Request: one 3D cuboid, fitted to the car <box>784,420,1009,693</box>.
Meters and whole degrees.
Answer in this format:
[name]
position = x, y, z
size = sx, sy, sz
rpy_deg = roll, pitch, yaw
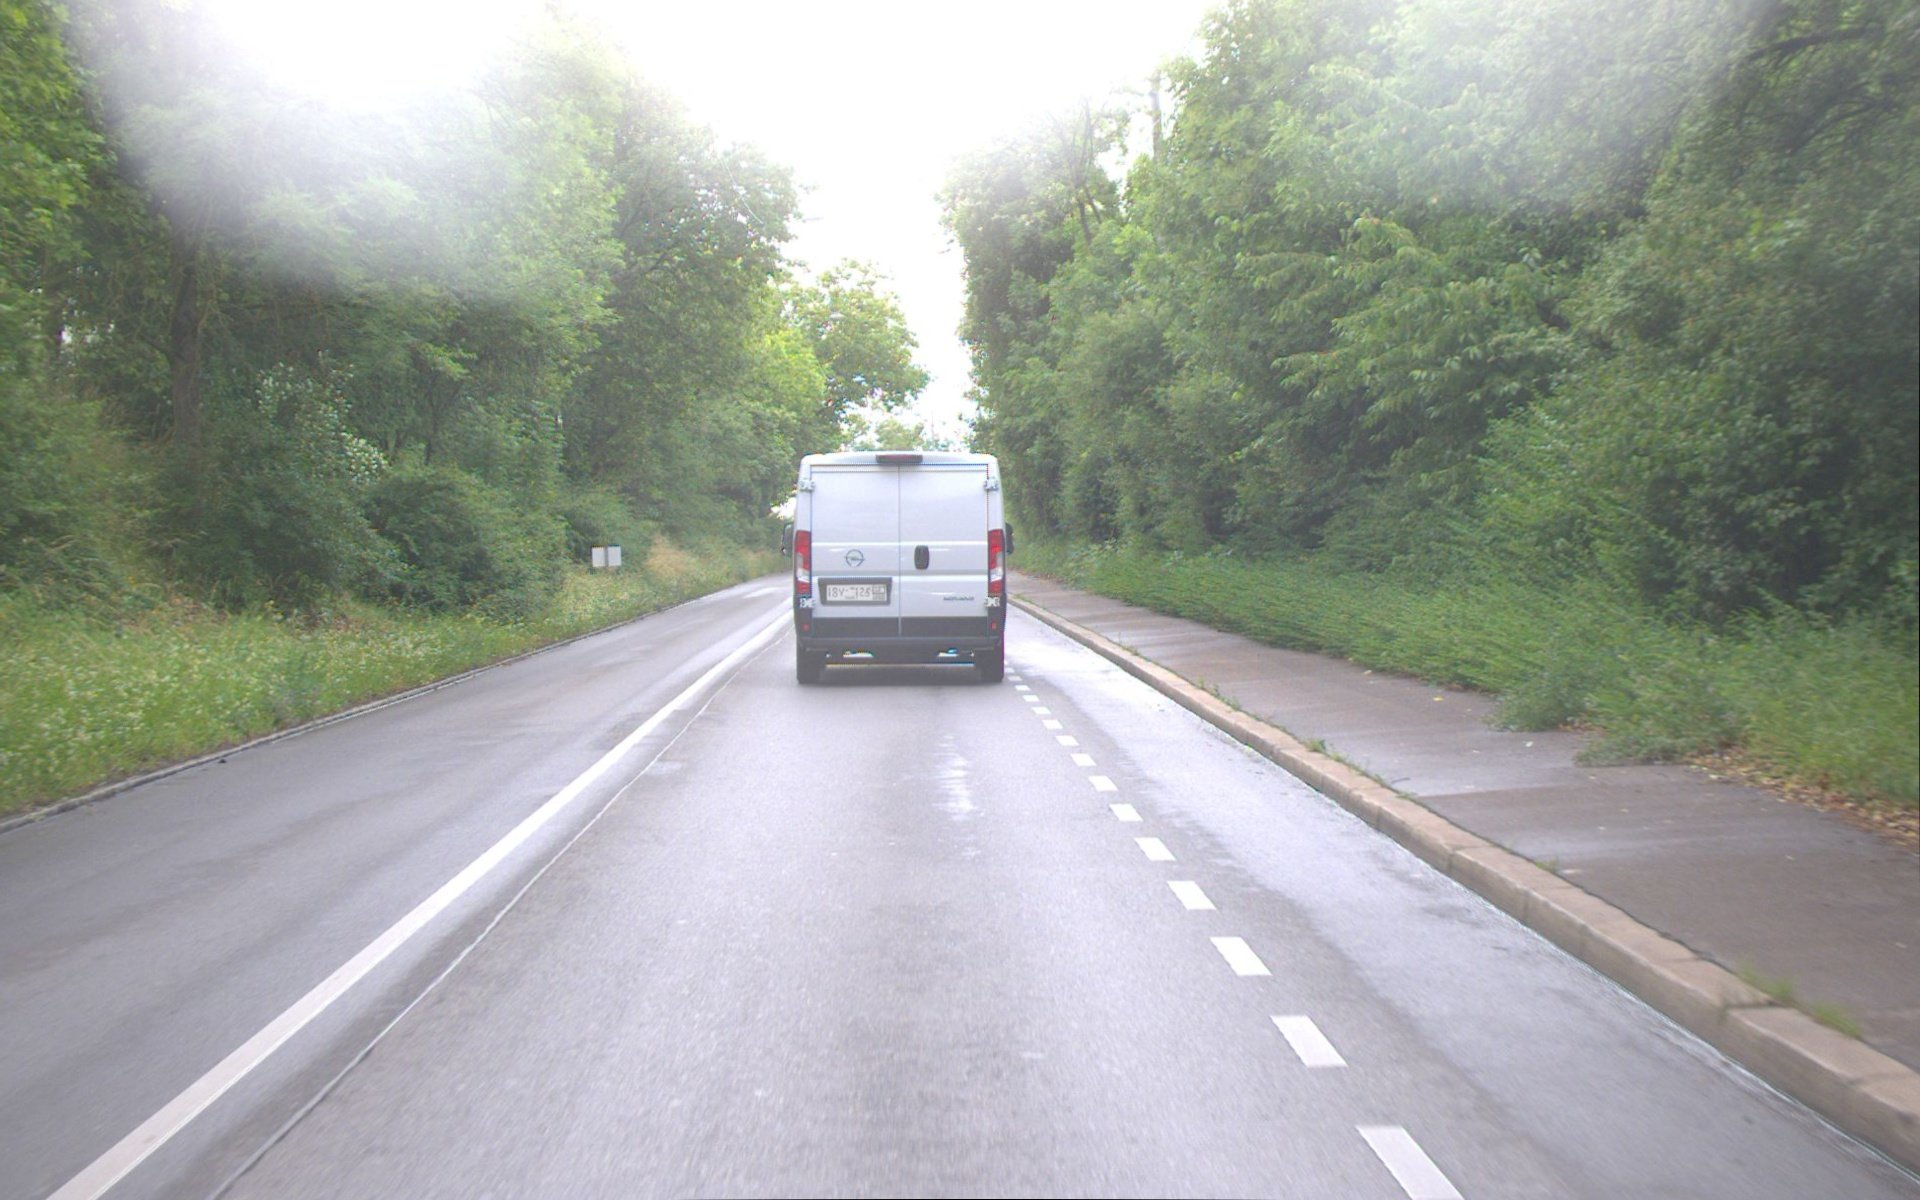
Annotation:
[car]
position = -0.626, -0.479, 34.797
size = 2.050, 2.508, 4.944
rpy_deg = 2, 2, -1
